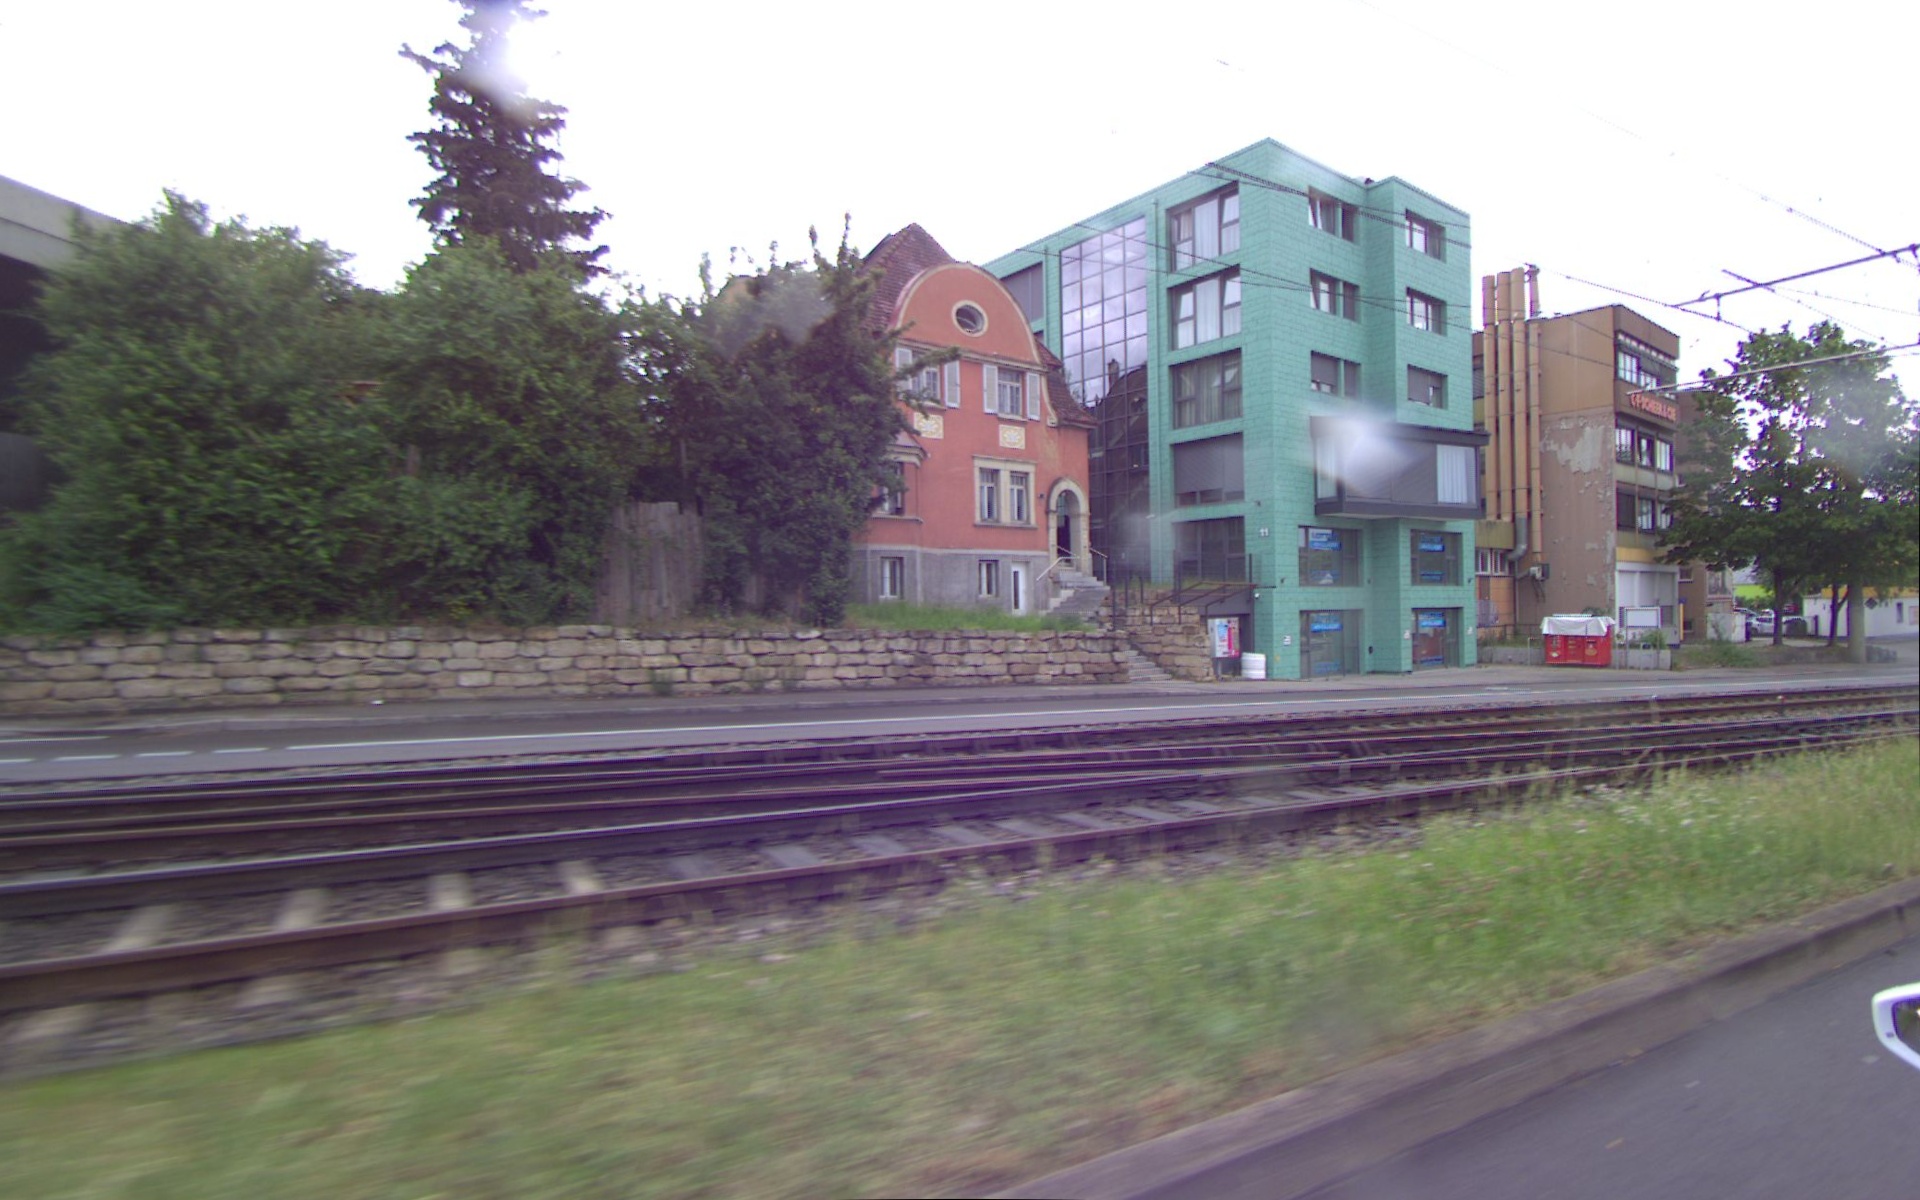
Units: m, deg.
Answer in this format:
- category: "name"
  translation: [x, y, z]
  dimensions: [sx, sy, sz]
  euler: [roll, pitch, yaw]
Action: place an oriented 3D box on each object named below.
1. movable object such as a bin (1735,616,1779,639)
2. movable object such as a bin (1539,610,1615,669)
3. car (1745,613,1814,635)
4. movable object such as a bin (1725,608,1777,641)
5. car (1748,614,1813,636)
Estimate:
- category: "movable object such as a bin"
  translation: [52.936, 1.813, 66.728]
  dimensions: [1.557, 1.394, 1.976]
  euler: [-1, 2, -40]
- category: "movable object such as a bin"
  translation: [24.766, 1.548, 40.340]
  dimensions: [1.786, 2.186, 2.117]
  euler: [-1, 2, -38]
- category: "car"
  translation: [58.905, 1.703, 72.290]
  dimensions: [3.714, 1.473, 1.547]
  euler: [2, 1, 36]
- category: "movable object such as a bin"
  translation: [51.014, 1.573, 64.796]
  dimensions: [3.542, 1.945, 1.976]
  euler: [-1, 2, -41]
- category: "car"
  translation: [62.668, 1.902, 76.811]
  dimensions: [3.714, 1.499, 1.570]
  euler: [2, 1, 36]
